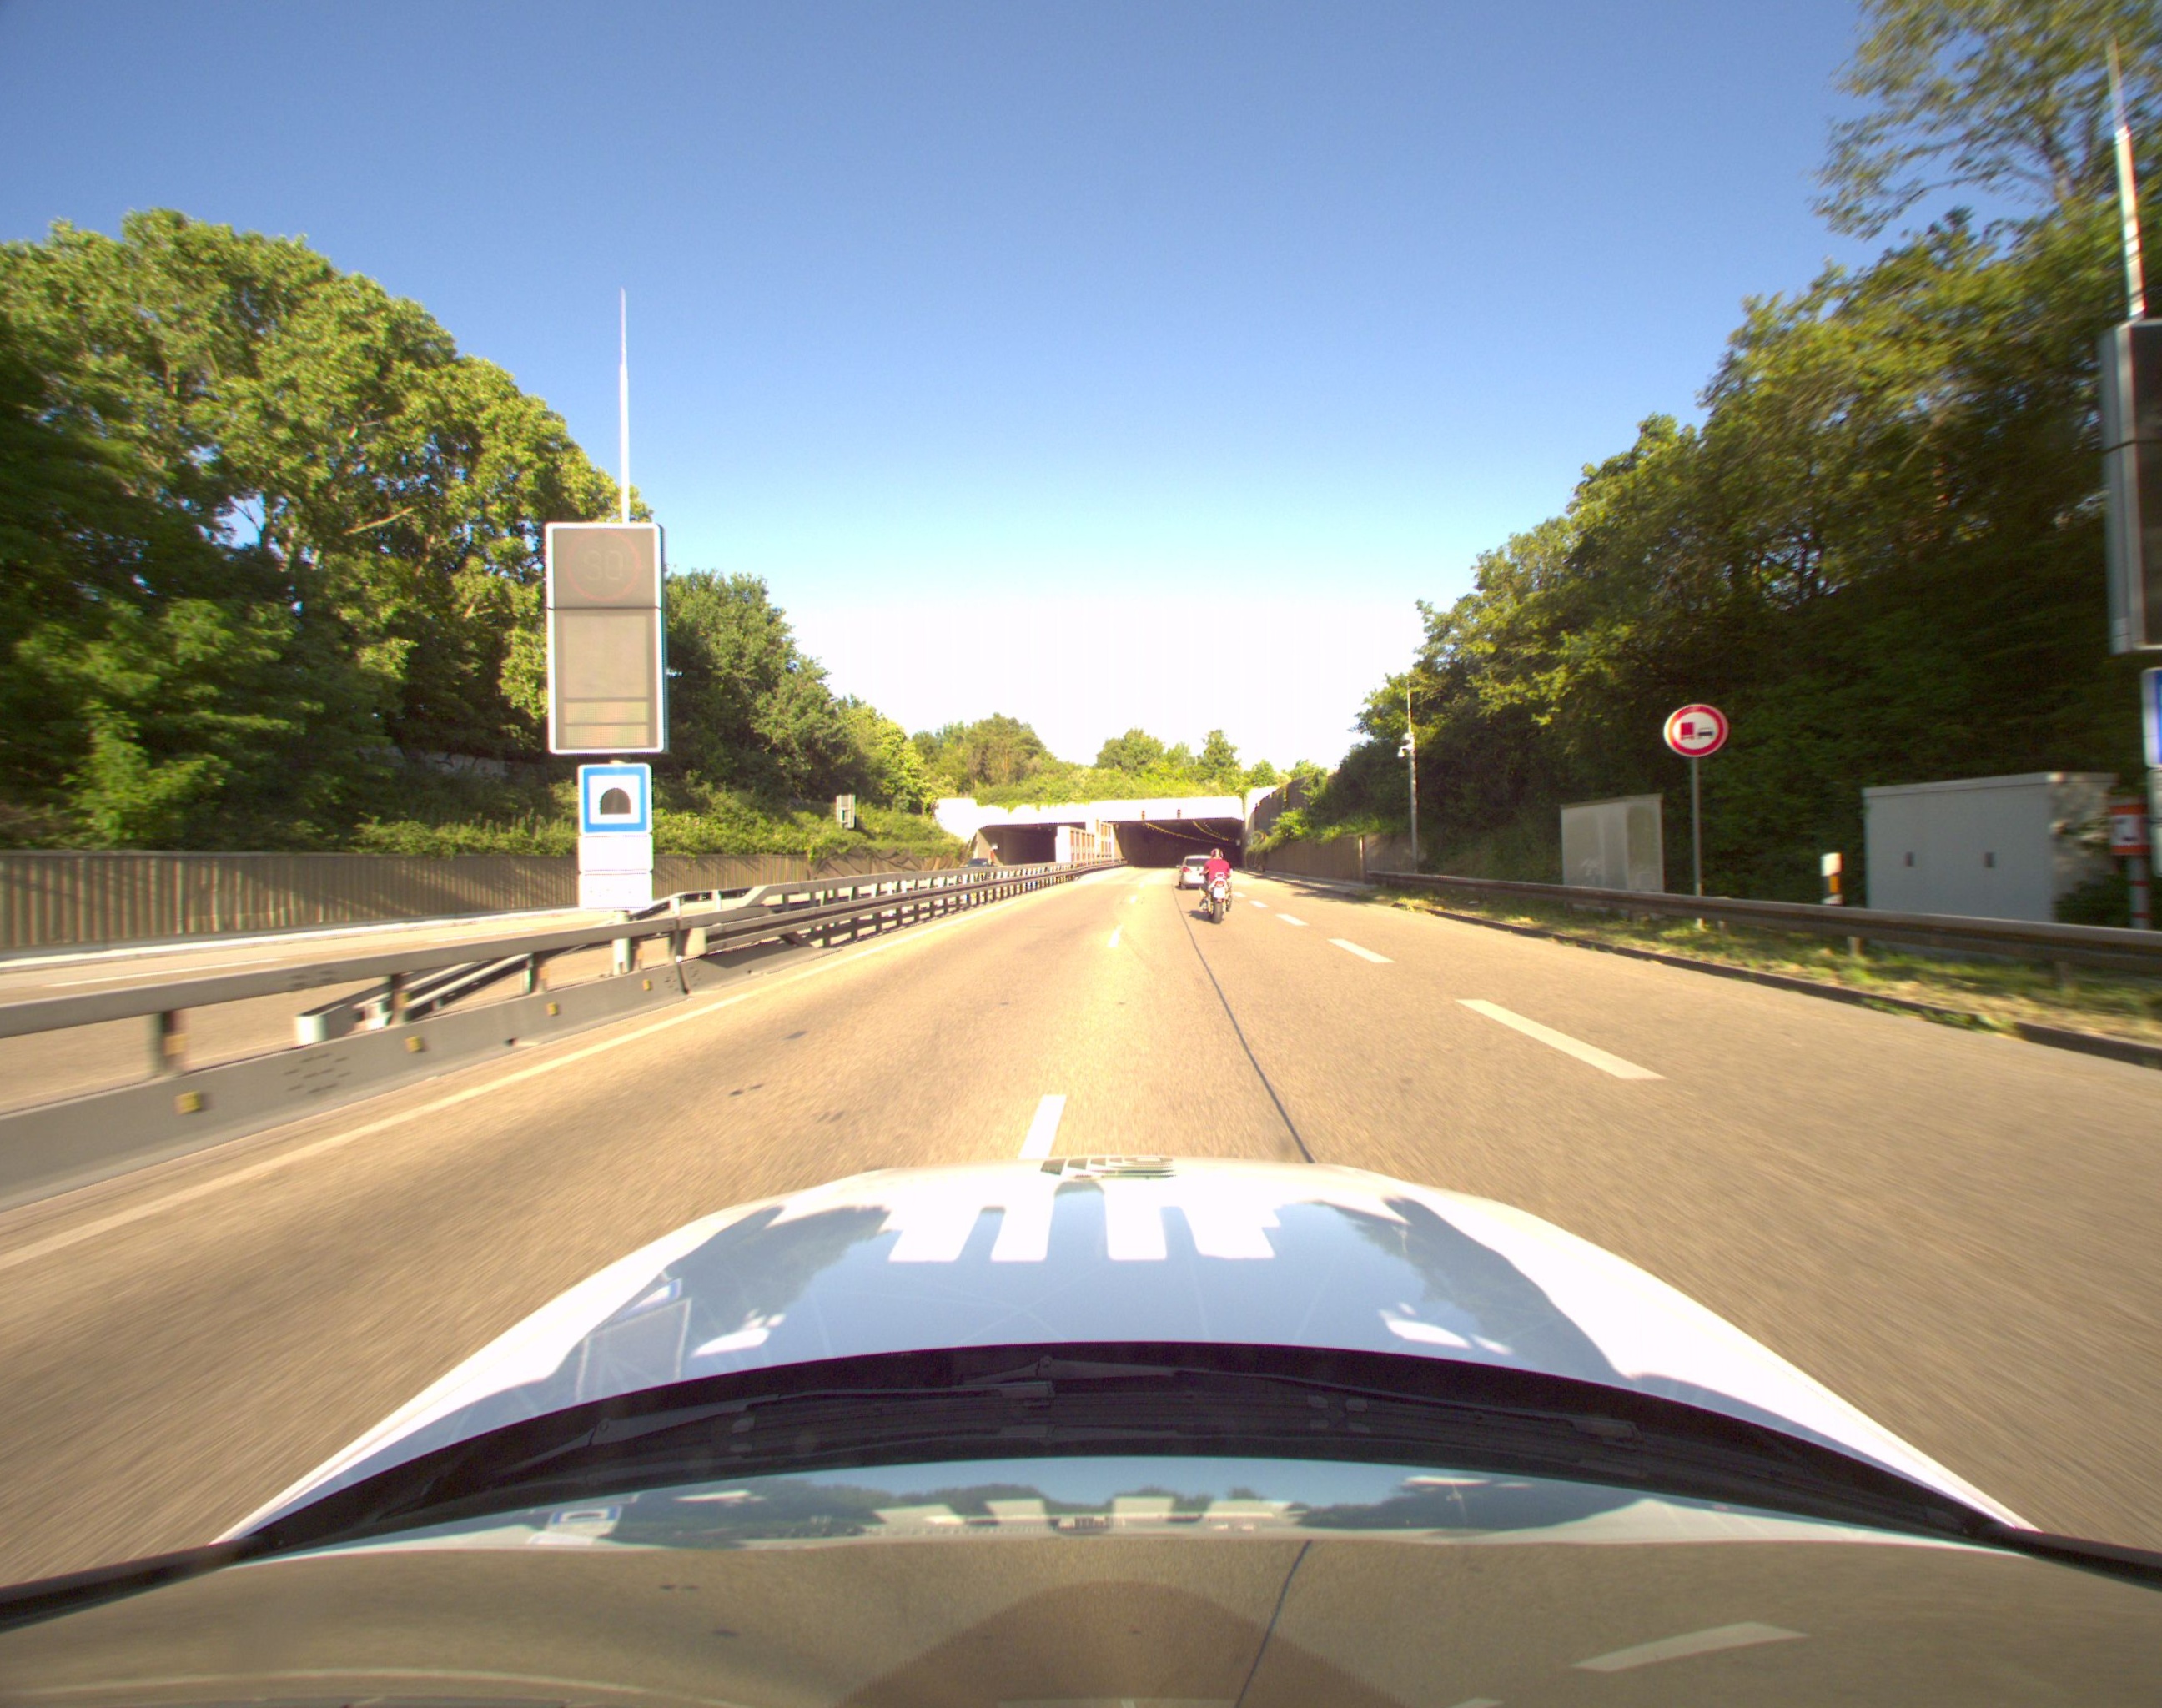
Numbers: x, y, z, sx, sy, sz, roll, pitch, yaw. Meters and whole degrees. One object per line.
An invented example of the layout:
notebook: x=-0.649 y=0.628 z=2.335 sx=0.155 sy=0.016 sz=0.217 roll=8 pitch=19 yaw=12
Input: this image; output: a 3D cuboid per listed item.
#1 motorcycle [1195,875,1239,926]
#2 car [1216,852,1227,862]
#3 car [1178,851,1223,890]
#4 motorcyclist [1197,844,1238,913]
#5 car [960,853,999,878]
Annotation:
motorcycle: x=3.081 y=1.006 z=18.245 sx=0.853 sy=0.991 sz=2.737 roll=0 pitch=0 yaw=12
car: x=28.443 y=0.548 z=164.659 sx=1.979 sy=1.925 sz=4.016 roll=-1 pitch=0 yaw=14
car: x=5.207 y=0.667 z=35.844 sx=1.659 sy=1.552 sz=4.005 roll=0 pitch=1 yaw=4
motorcyclist: x=3.079 y=0.518 z=18.268 sx=0.877 sy=1.501 sz=1.066 roll=0 pitch=1 yaw=11
car: x=-7.514 y=0.820 z=60.772 sx=1.658 sy=1.675 sz=4.874 roll=0 pitch=1 yaw=8
